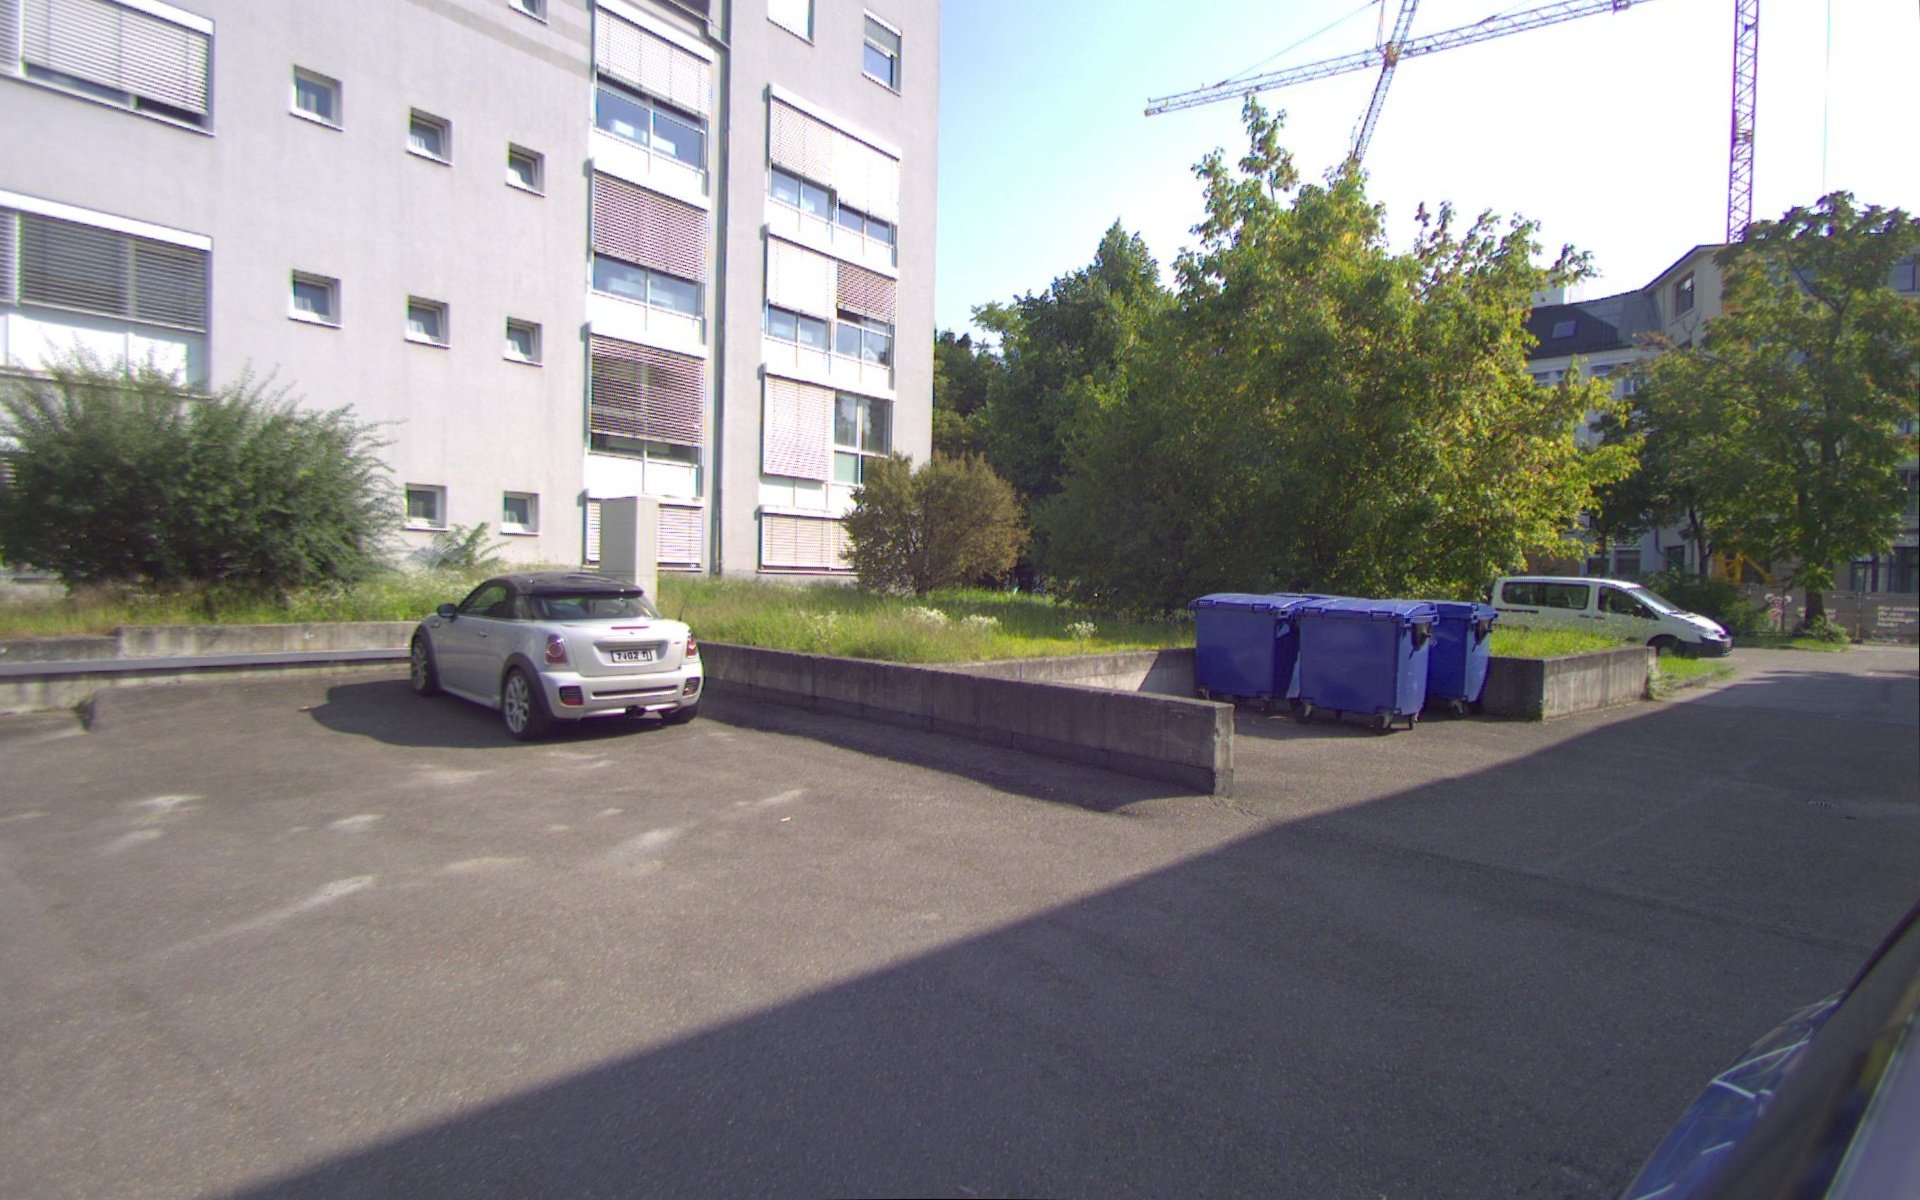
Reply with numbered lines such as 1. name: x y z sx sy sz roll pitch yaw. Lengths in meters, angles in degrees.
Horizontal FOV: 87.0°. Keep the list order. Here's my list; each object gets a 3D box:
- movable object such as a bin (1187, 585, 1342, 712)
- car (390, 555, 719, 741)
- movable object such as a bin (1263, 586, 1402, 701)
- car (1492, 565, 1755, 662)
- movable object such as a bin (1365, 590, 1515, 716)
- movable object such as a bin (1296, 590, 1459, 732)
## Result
1. movable object such as a bin: 3.557 0.520 11.826 1.254 1.344 1.255 0 1 -43
2. car: -4.073 0.330 9.903 3.570 1.455 1.633 3 2 43
3. movable object such as a bin: 4.731 0.510 12.857 1.254 1.344 1.198 0 1 -43
4. car: 15.380 0.231 23.686 1.876 1.955 4.787 1 2 -41
5. movable object such as a bin: 5.621 0.573 11.855 1.254 1.344 1.198 0 1 -43
6. movable object such as a bin: 4.463 0.598 10.823 1.211 1.368 1.255 2 1 44
